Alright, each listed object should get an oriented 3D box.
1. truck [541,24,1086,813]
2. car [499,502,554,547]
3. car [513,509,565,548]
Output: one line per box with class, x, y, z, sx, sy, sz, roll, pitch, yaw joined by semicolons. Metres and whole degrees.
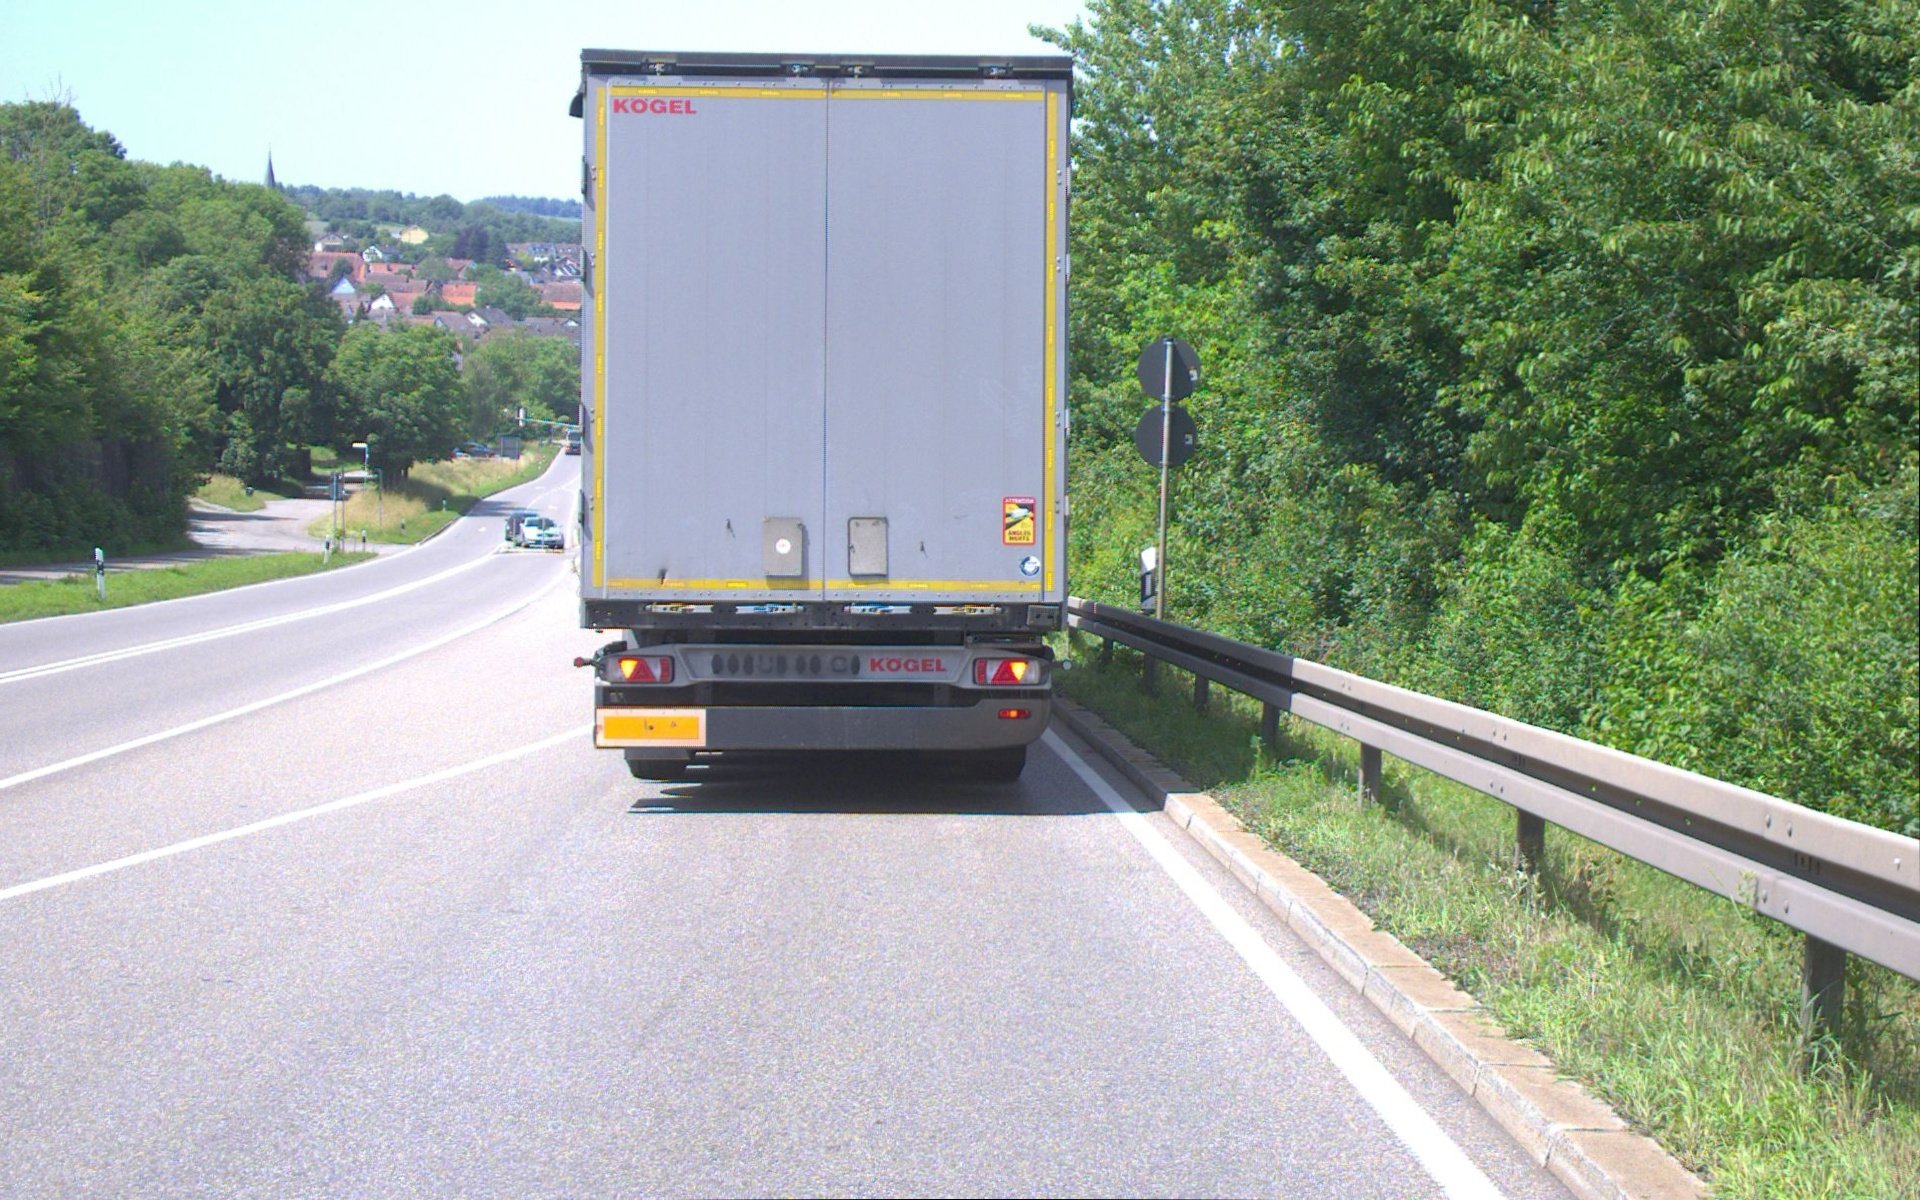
truck;-0.832;-1.064;23.596;2.757;4.016;11.925;1;1;-1
car;-19.149;-3.311;151.681;1.763;1.919;3.749;1;1;-17
car;-19.702;-3.345;160.832;1.805;1.788;3.843;1;1;-16
